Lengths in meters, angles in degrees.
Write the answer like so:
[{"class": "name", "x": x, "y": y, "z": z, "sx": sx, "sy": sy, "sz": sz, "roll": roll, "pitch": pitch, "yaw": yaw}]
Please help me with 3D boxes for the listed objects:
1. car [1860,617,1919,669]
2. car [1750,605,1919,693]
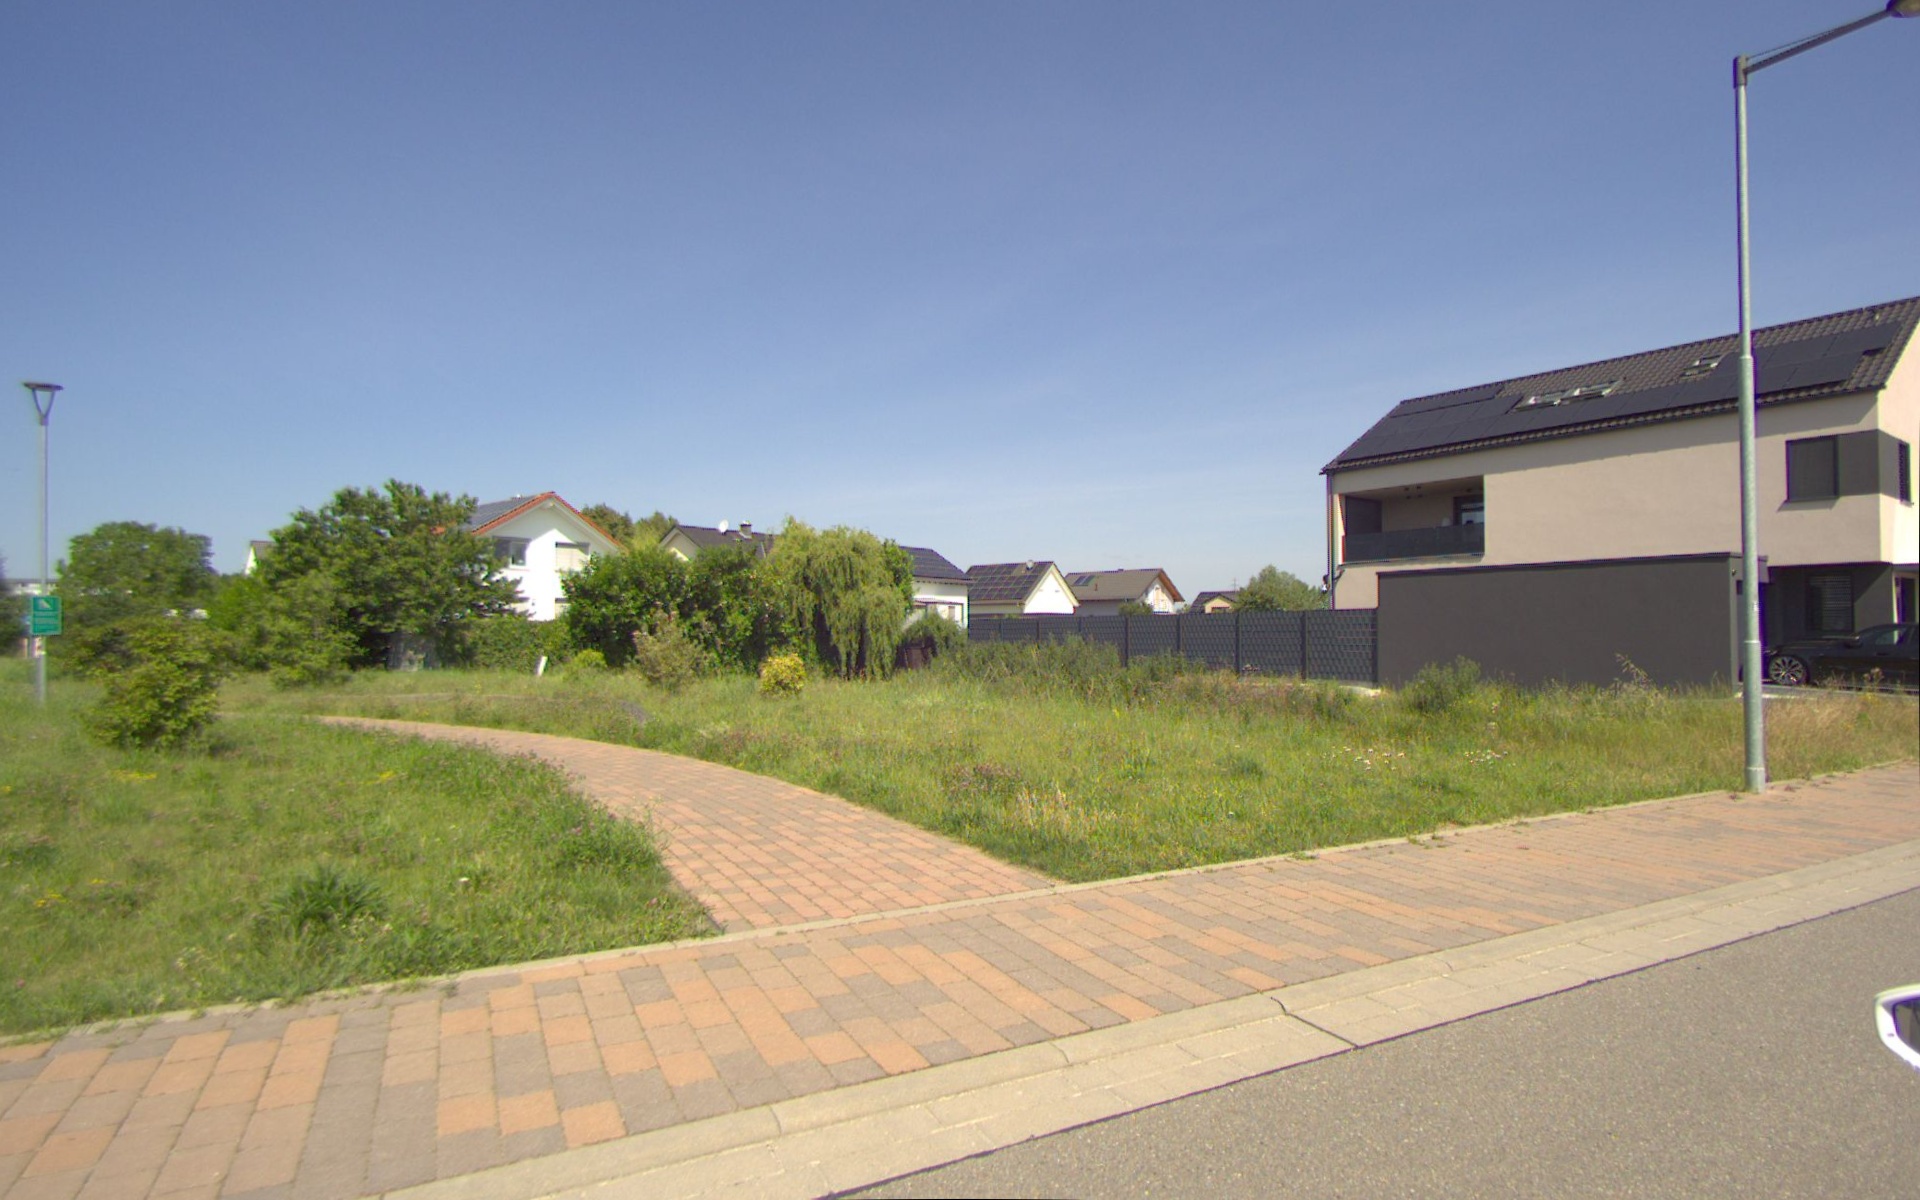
[{"class": "car", "x": 28.782, "y": 1.239, "z": 28.921, "sx": 1.735, "sy": 1.506, "sz": 3.964, "roll": 1, "pitch": -1, "yaw": -33}, {"class": "car", "x": 19.050, "y": 0.989, "z": 20.435, "sx": 1.753, "sy": 1.653, "sz": 4.347, "roll": 1, "pitch": 1, "yaw": -35}]
